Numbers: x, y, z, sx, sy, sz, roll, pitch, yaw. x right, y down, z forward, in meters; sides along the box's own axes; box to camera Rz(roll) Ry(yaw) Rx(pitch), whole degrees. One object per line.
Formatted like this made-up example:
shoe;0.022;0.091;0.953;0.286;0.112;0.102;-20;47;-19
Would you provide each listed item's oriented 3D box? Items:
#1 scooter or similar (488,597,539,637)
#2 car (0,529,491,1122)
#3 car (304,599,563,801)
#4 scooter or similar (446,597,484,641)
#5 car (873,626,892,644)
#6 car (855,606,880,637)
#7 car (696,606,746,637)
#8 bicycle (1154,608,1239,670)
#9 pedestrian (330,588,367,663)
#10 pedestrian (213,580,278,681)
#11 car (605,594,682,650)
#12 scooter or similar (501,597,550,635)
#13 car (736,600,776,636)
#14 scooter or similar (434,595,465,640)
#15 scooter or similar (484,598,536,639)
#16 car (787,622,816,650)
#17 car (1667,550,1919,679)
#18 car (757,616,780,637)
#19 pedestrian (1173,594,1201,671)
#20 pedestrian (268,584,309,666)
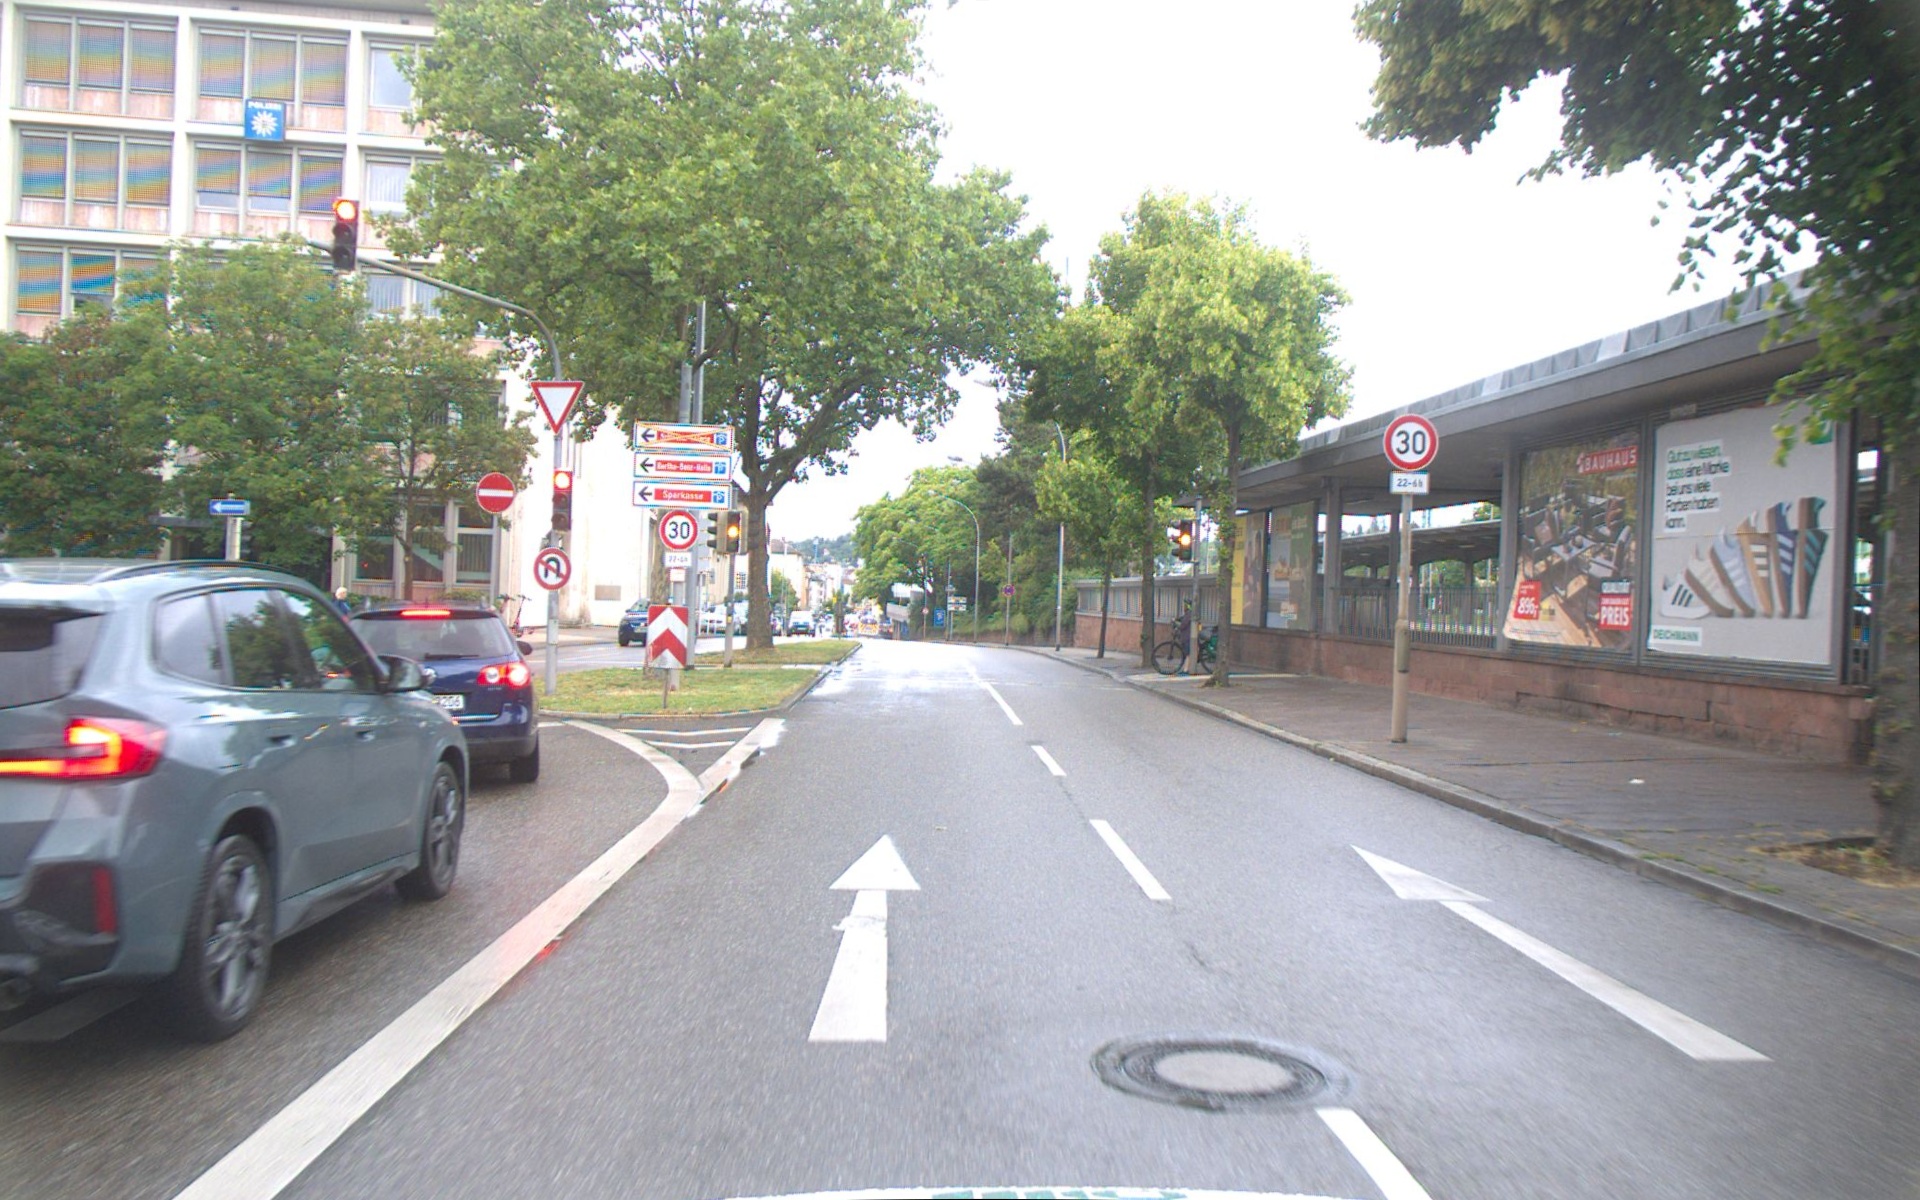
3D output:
scooter or similar;-13.890;0.527;51.484;0.596;1.213;1.525;1;0;31
car;-3.398;0.633;6.797;1.925;1.668;4.355;1;0;-4
car;-4.483;0.717;14.138;1.787;1.434;4.391;1;0;-18
scooter or similar;-13.826;0.524;46.233;0.558;1.213;1.574;1;0;1
car;-8.869;4.031;189.089;2.050;1.944;4.096;0;0;-4
car;-8.527;1.950;151.759;2.219;2.703;3.997;1;0;-4
car;-11.025;1.014;76.469;1.657;1.320;4.092;2;-1;0
bicycle;4.983;0.815;34.890;1.687;1.271;0.485;-1;0;30
pedestrian;-13.507;0.558;36.555;0.642;1.631;0.922;1;0;-14
pedestrian;-14.968;0.627;34.655;0.915;2.081;0.873;1;0;5
car;-9.516;0.651;50.005;1.806;1.534;4.098;3;0;-5
scooter or similar;-13.861;0.522;52.809;0.596;1.185;1.525;1;0;31
car;-11.807;1.038;96.118;1.910;1.978;4.992;2;-1;-3
scooter or similar;-13.760;0.458;44.621;0.479;1.188;1.500;1;0;-6
scooter or similar;-13.645;0.552;50.178;0.596;1.213;1.525;1;0;31
car;-10.258;2.302;106.953;1.786;1.689;4.333;1;-1;-5
car;13.699;0.227;27.184;1.954;1.904;4.594;1;0;-4
car;-15.307;2.128;132.121;1.715;1.460;4.479;4;-2;-6
pedestrian;4.739;0.672;34.590;0.448;1.596;0.392;-1;0;30
pedestrian;-14.559;0.538;35.868;0.641;1.740;0.795;1;0;-10
